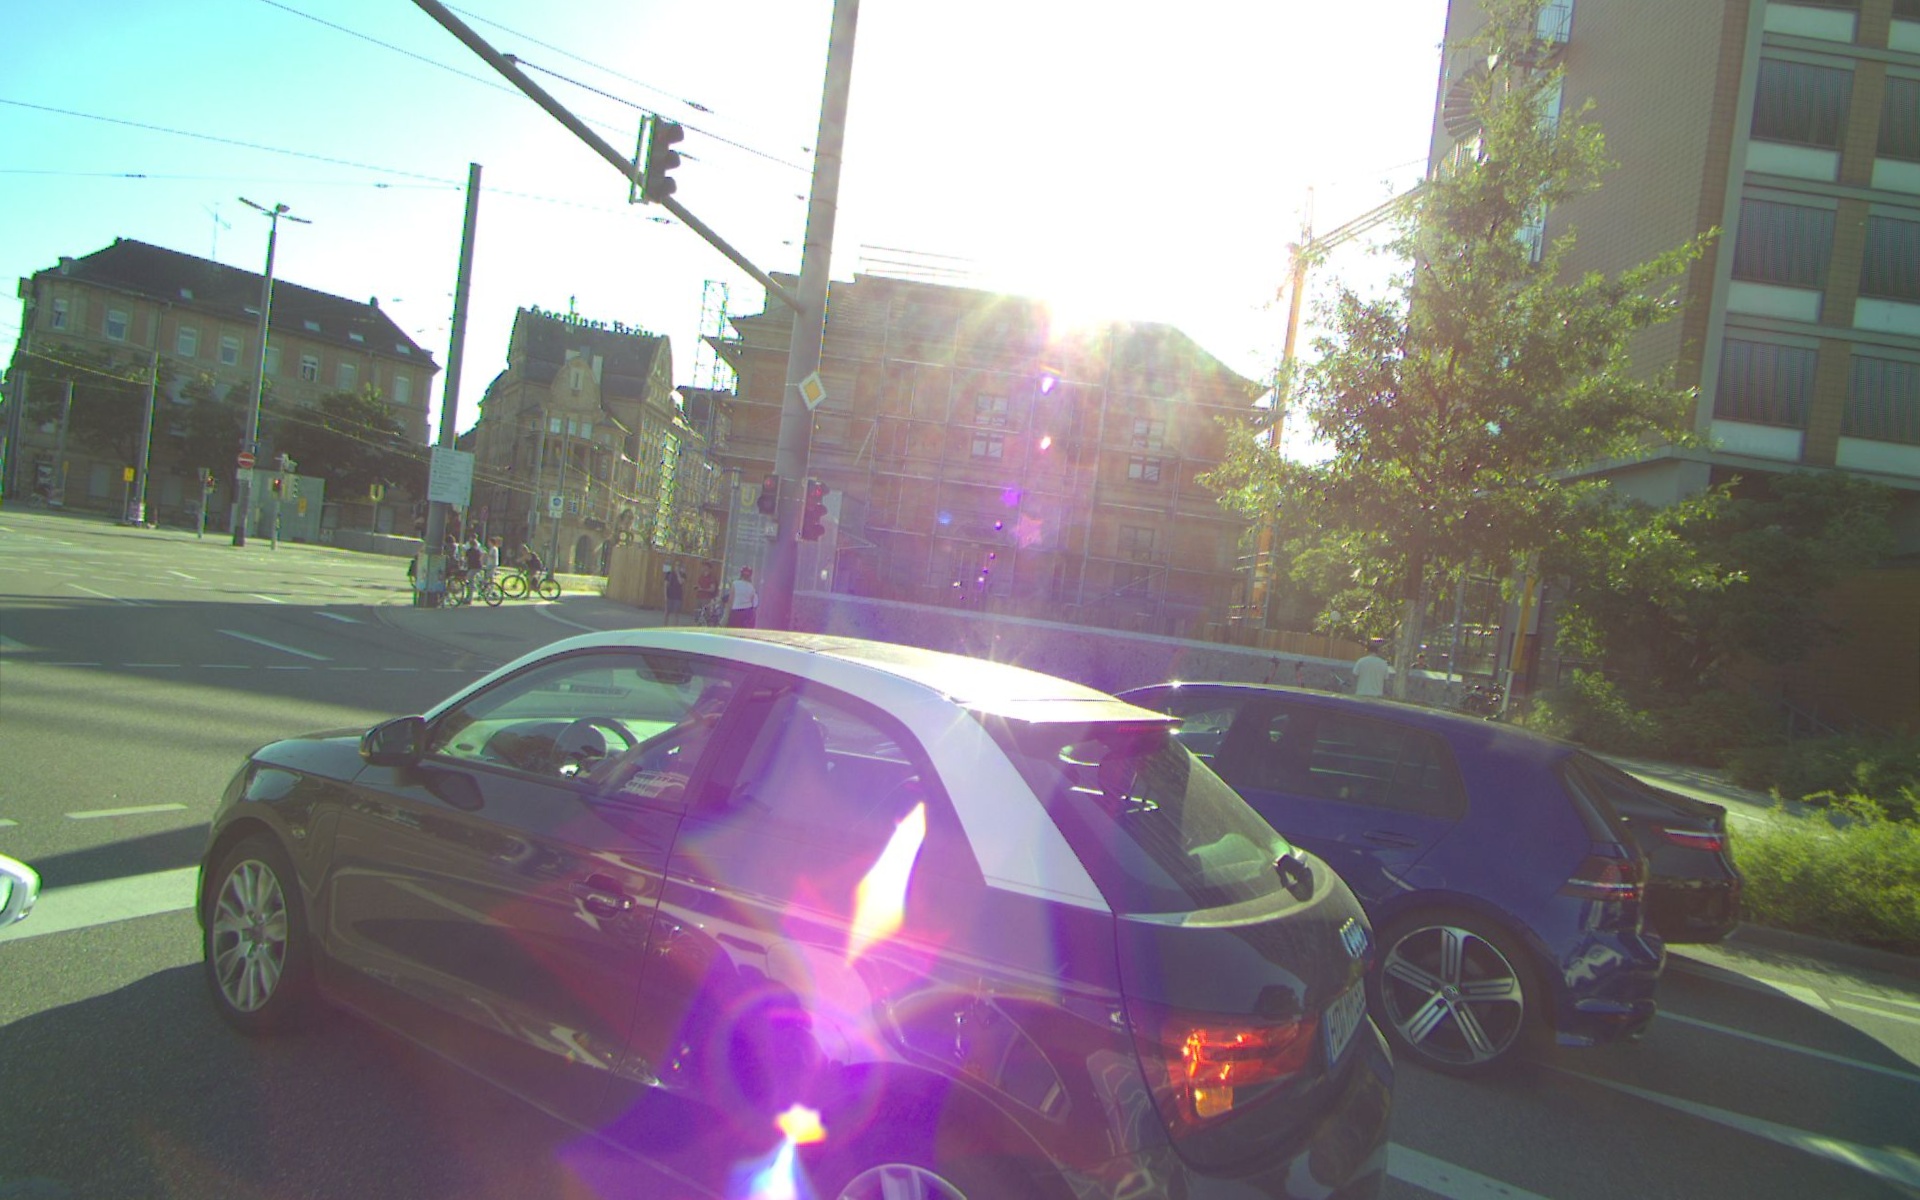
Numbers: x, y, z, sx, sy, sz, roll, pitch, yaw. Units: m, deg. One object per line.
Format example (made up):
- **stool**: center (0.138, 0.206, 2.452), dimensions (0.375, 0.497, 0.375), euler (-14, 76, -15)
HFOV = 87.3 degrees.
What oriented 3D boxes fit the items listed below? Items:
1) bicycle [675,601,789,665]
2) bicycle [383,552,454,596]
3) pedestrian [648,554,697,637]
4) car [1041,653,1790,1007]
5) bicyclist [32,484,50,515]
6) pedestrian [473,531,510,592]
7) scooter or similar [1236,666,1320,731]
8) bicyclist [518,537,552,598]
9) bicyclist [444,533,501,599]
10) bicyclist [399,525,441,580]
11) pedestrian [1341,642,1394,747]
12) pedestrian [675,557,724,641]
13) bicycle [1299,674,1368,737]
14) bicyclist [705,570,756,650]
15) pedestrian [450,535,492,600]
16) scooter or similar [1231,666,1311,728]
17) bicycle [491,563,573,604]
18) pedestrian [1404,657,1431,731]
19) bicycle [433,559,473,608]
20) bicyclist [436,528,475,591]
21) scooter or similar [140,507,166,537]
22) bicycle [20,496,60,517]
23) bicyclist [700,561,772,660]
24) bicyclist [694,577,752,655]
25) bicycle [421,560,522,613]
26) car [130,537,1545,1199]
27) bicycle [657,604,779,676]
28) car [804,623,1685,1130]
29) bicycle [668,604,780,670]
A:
- **bicycle**: center (-4.466, 0.644, 19.797), dimensions (1.997, 0.976, 0.660), euler (7, 2, 5)
- **bicycle**: center (-16.808, -0.810, 31.211), dimensions (2.278, 1.061, 0.536), euler (8, -1, 24)
- **pedestrian**: center (-6.663, -0.104, 23.317), dimensions (0.672, 1.830, 0.672), euler (7, 2, 11)
- **car**: center (3.032, 1.412, 7.428), dimensions (4.436, 1.420, 1.727), euler (6, -2, 31)
- **bicyclist**: center (-55.875, -6.105, 61.155), dimensions (0.509, 1.720, 0.517), euler (7, -1, -25)
- **pedestrian**: center (-16.001, -1.304, 34.348), dimensions (0.678, 1.945, 0.649), euler (7, -1, 25)
- **scooter or similar**: center (5.892, 1.824, 18.667), dimensions (1.348, 1.007, 0.342), euler (7, -1, 25)
- **bicyclist**: center (-13.372, -1.003, 31.663), dimensions (0.785, 1.800, 0.520), euler (8, -1, -23)
- **bicyclist**: center (-12.830, -0.891, 26.497), dimensions (0.929, 1.575, 0.711), euler (7, -1, 8)
- **bicyclist**: center (-16.777, -1.460, 31.244), dimensions (0.930, 1.575, 0.516), euler (7, -1, 23)
- **pedestrian**: center (6.867, 1.568, 16.935), dimensions (0.592, 1.662, 0.677), euler (7, 3, 29)
- **pedestrian**: center (-5.988, -0.021, 23.160), dimensions (0.672, 1.828, 0.672), euler (7, -1, 11)
- **bicycle**: center (7.000, 1.965, 18.890), dimensions (0.352, 1.015, 1.149), euler (8, -2, -29)
- **bicyclist**: center (-4.511, 0.211, 19.799), dimensions (0.661, 1.471, 0.618), euler (7, -1, 3)
- **pedestrian**: center (-16.318, -1.069, 33.563), dimensions (0.748, 2.037, 0.733), euler (7, -1, 25)
- **scooter or similar**: center (5.992, 1.863, 19.413), dimensions (1.346, 1.007, 0.343), euler (7, -1, 13)
- **bicycle**: center (-13.463, -0.516, 31.658), dimensions (2.289, 1.063, 0.532), euler (5, 2, -25)
- **pedestrian**: center (11.204, 2.301, 24.633), dimensions (0.369, 1.752, 0.444), euler (7, -1, 17)
- **bicycle**: center (-12.688, -0.436, 25.159), dimensions (0.693, 1.061, 2.303), euler (9, -1, -29)
- **bicyclist**: center (-12.661, -0.999, 25.239), dimensions (0.702, 1.456, 0.940), euler (8, -1, -28)
- **scooter or similar**: center (-42.071, -4.070, 52.425), dimensions (0.784, 1.392, 1.885), euler (8, -2, -44)
- **bicycle**: center (-55.922, -5.696, 61.157), dimensions (1.580, 0.963, 0.655), euler (8, -2, -25)
- **bicyclist**: center (-3.828, 0.181, 17.193), dimensions (0.781, 1.571, 0.668), euler (7, -1, 27)
- **bicyclist**: center (-4.384, 0.296, 18.608), dimensions (0.662, 1.330, 0.617), euler (7, -1, 27)
- **bicycle**: center (-12.853, -0.354, 26.493), dimensions (2.276, 1.061, 0.702), euler (7, -1, 8)
- **car**: center (-0.601, 0.757, 3.015), dimensions (3.934, 1.420, 1.627), euler (6, -2, 32)
- **bicycle**: center (-4.171, 0.690, 17.315), dimensions (1.999, 0.974, 0.660), euler (6, -1, 27)
- **car**: center (1.277, 1.098, 5.352), dimensions (3.934, 1.420, 1.627), euler (6, -2, 32)
- **bicycle**: center (-4.369, 0.675, 18.584), dimensions (1.999, 0.976, 0.659), euler (6, 2, 27)
